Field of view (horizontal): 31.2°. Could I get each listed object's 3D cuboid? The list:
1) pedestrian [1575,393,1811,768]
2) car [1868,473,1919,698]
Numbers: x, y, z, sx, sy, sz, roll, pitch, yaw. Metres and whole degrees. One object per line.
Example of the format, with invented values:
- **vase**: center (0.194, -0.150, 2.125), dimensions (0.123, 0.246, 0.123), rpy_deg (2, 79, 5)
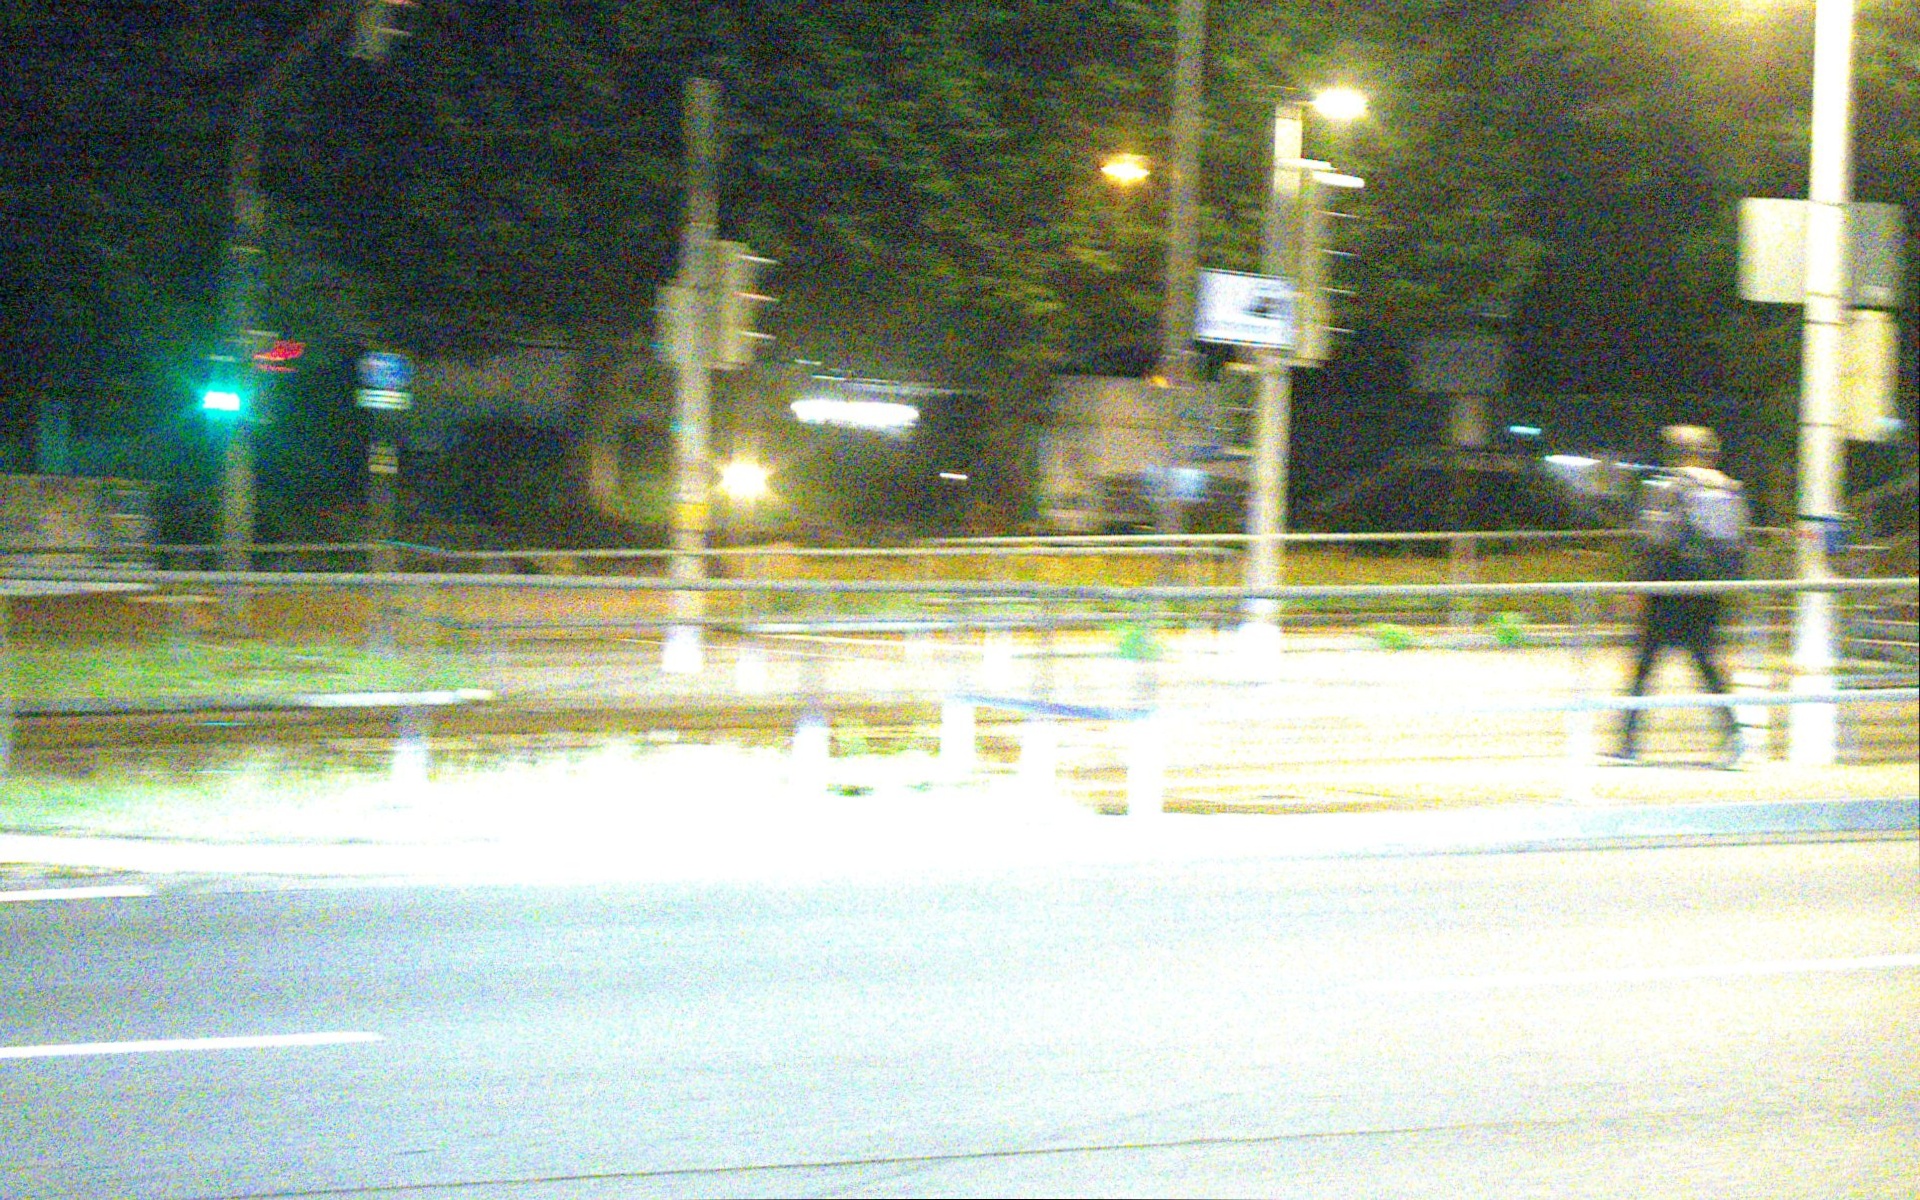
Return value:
- **pedestrian**: center (3.526, -0.120, 16.574), dimensions (0.754, 1.738, 0.834), rpy_deg (-3, 4, -25)
- **car**: center (10.505, -0.198, 31.044), dimensions (3.986, 2.006, 2.001), rpy_deg (-2, 2, -19)
